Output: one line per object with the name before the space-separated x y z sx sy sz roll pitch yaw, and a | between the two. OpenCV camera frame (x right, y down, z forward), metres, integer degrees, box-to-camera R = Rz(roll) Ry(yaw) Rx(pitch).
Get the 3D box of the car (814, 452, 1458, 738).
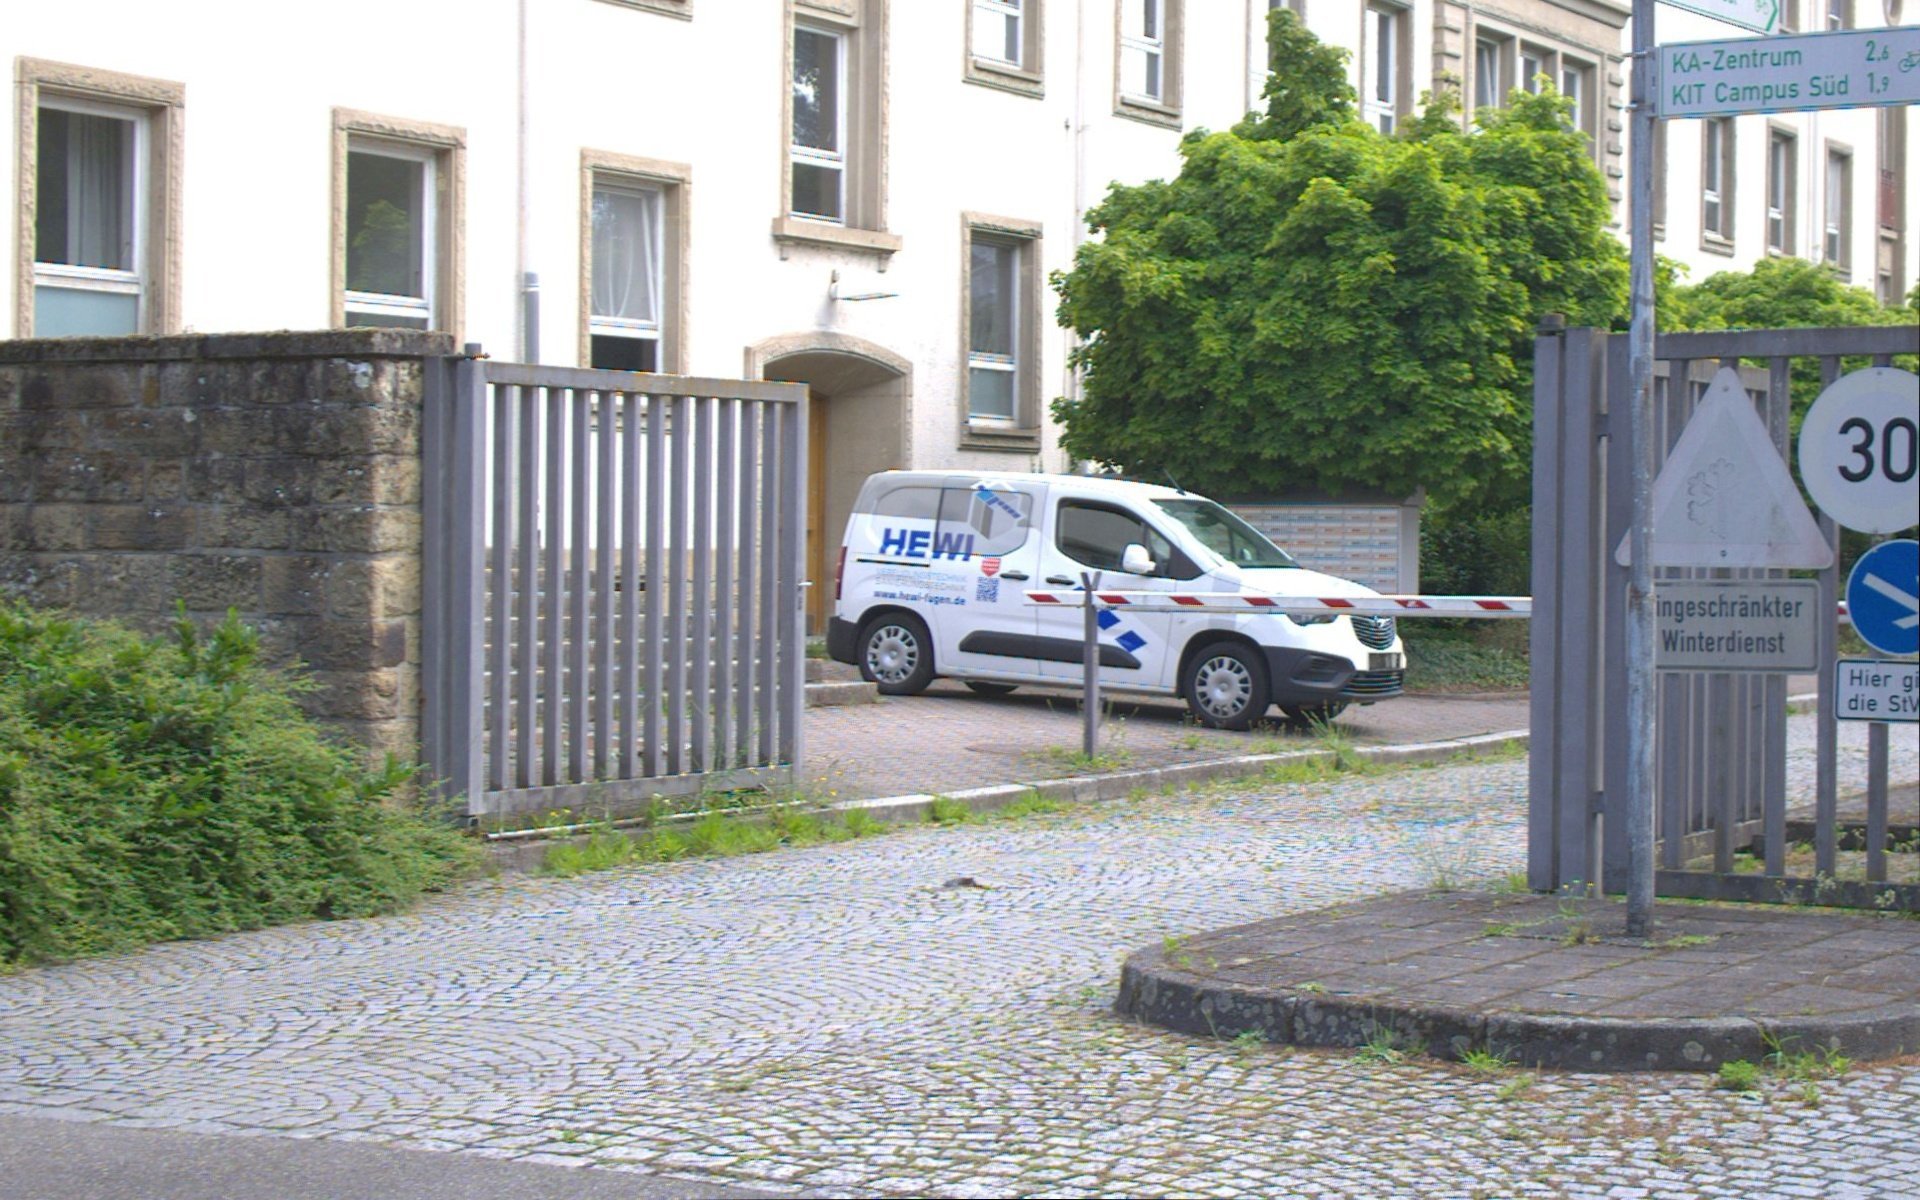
car | 1.314 -0.102 26.210 4.444 1.745 1.856 5 4 28
